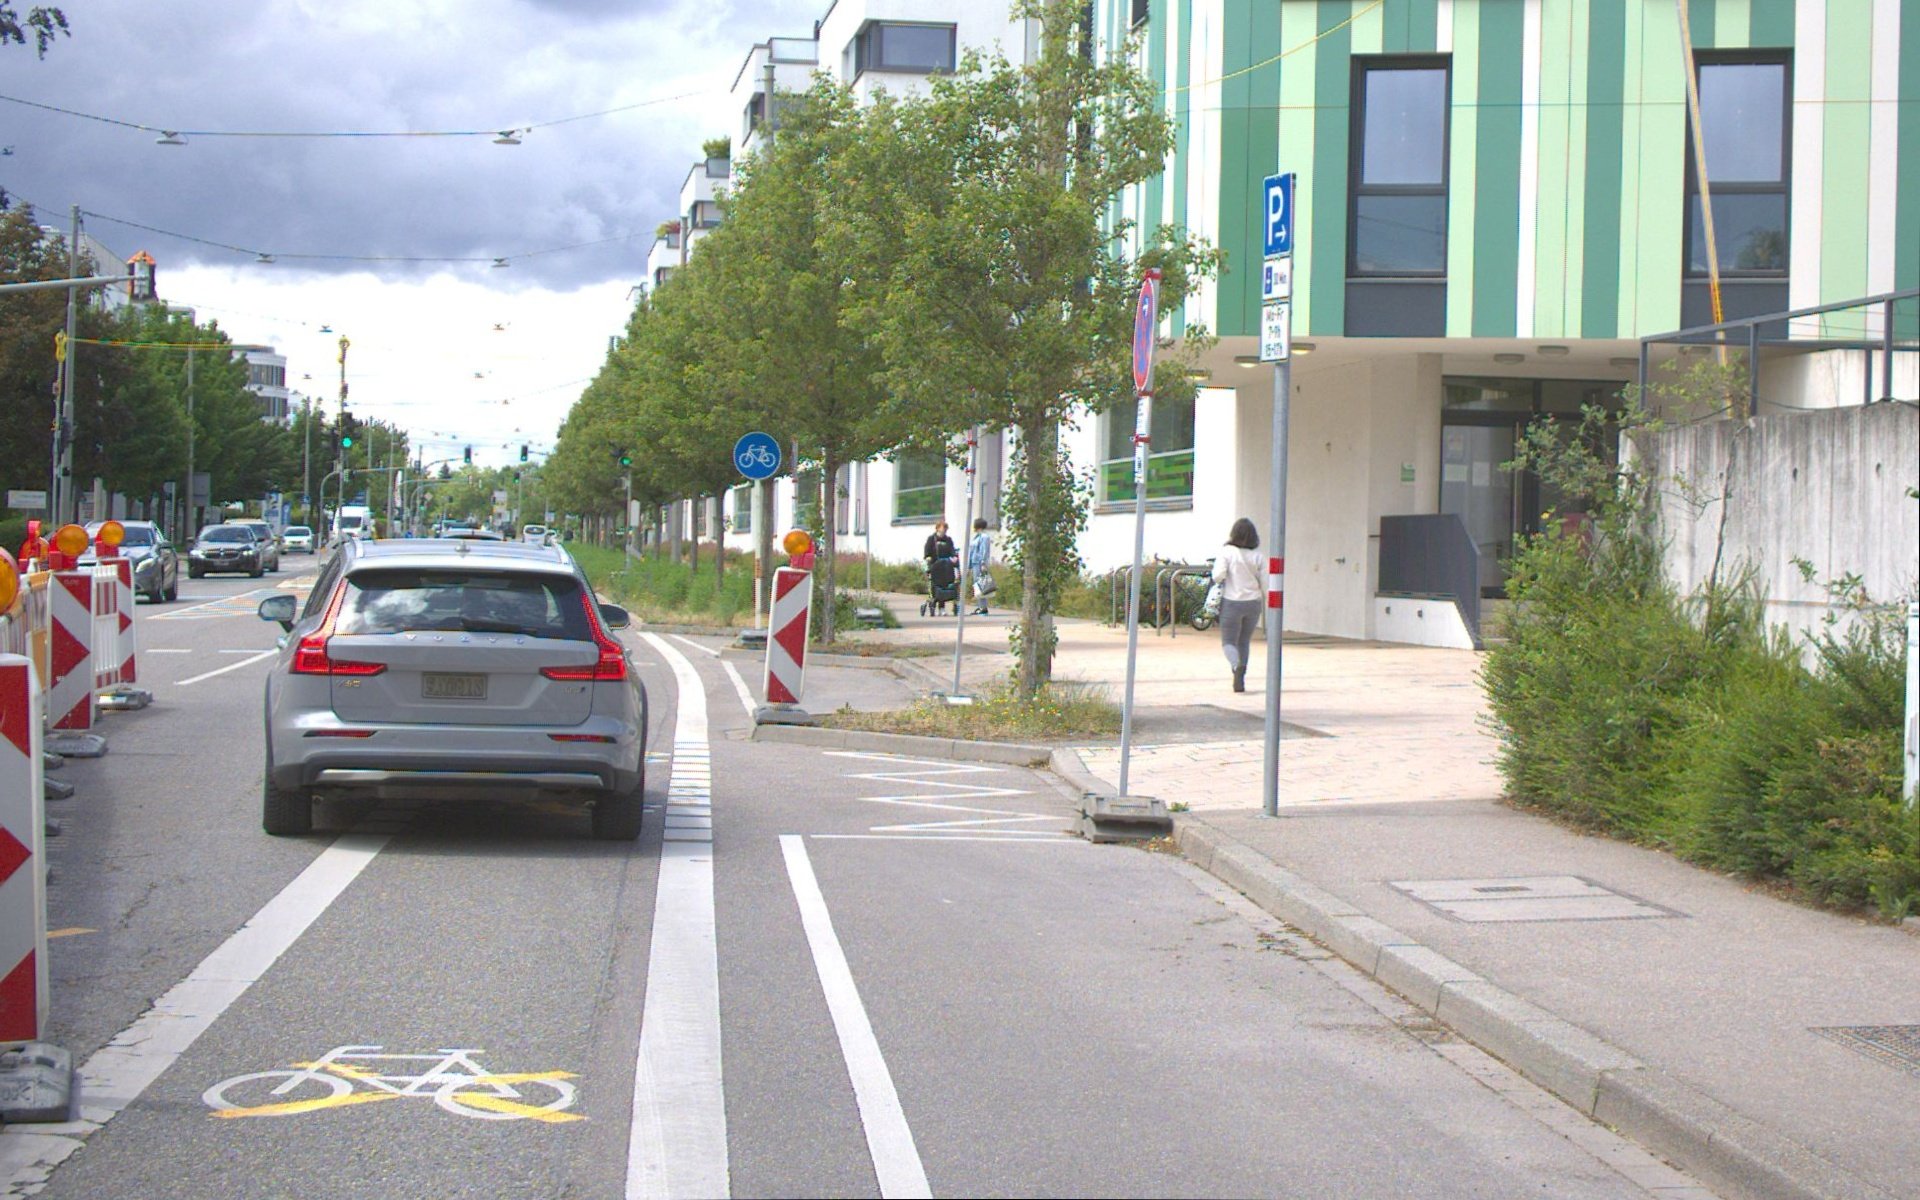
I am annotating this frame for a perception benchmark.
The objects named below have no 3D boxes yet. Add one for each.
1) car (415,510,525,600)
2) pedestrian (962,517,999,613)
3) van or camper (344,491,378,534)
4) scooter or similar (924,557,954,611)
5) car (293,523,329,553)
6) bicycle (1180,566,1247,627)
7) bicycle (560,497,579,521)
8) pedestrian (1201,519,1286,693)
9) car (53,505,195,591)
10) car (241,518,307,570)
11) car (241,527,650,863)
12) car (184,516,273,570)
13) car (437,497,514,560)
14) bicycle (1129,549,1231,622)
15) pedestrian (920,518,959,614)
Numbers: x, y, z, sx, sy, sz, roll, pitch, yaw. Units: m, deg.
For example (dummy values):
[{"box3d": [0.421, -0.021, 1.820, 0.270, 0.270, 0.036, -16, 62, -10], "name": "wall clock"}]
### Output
[{"box3d": [-8.832, -0.837, 61.893, 1.854, 1.508, 4.001, 2, 1, -8], "name": "car"}, {"box3d": [0.358, -0.602, 59.171, 0.550, 1.649, 0.607, 0, 1, -8], "name": "pedestrian"}, {"box3d": [-38.959, -5.700, 223.563, 1.993, 2.724, 6.055, 0, 1, -12], "name": "van or camper"}, {"box3d": [-0.364, -0.275, 59.106, 0.421, 0.902, 0.682, 0, 1, -8], "name": "scooter or similar"}, {"box3d": [-34.326, -3.273, 181.977, 1.660, 1.510, 4.001, 1, 1, -8], "name": "car"}, {"box3d": [3.610, -0.051, 48.910, 1.022, 0.839, 0.307, -1, 2, -40], "name": "bicycle"}, {"box3d": [-24.195, -5.640, 213.002, 1.066, 1.448, 2.978, 0, 1, -8], "name": "bicycle"}, {"box3d": [2.544, 0.042, 30.885, 0.581, 1.546, 0.869, 0, 1, -8], "name": "pedestrian"}, {"box3d": [-15.177, -0.972, 62.592, 1.854, 1.508, 4.001, 0, 1, -4], "name": "car"}, {"box3d": [-21.388, -1.762, 107.310, 1.749, 1.550, 4.403, 0, 2, -8], "name": "car"}, {"box3d": [-2.582, 0.408, 18.055, 1.854, 1.508, 4.001, 1, 1, -5], "name": "car"}, {"box3d": [-19.910, -1.564, 93.699, 1.993, 1.395, 4.812, -1, 1, -8], "name": "car"}, {"box3d": [-12.432, -1.847, 88.123, 1.844, 1.508, 4.001, 2, 1, -8], "name": "car"}, {"box3d": [3.197, -0.214, 49.923, 1.464, 1.042, 0.307, 0, 1, -20], "name": "bicycle"}, {"box3d": [-0.354, -0.587, 59.577, 0.605, 1.649, 0.552, 0, 1, -8], "name": "pedestrian"}]
